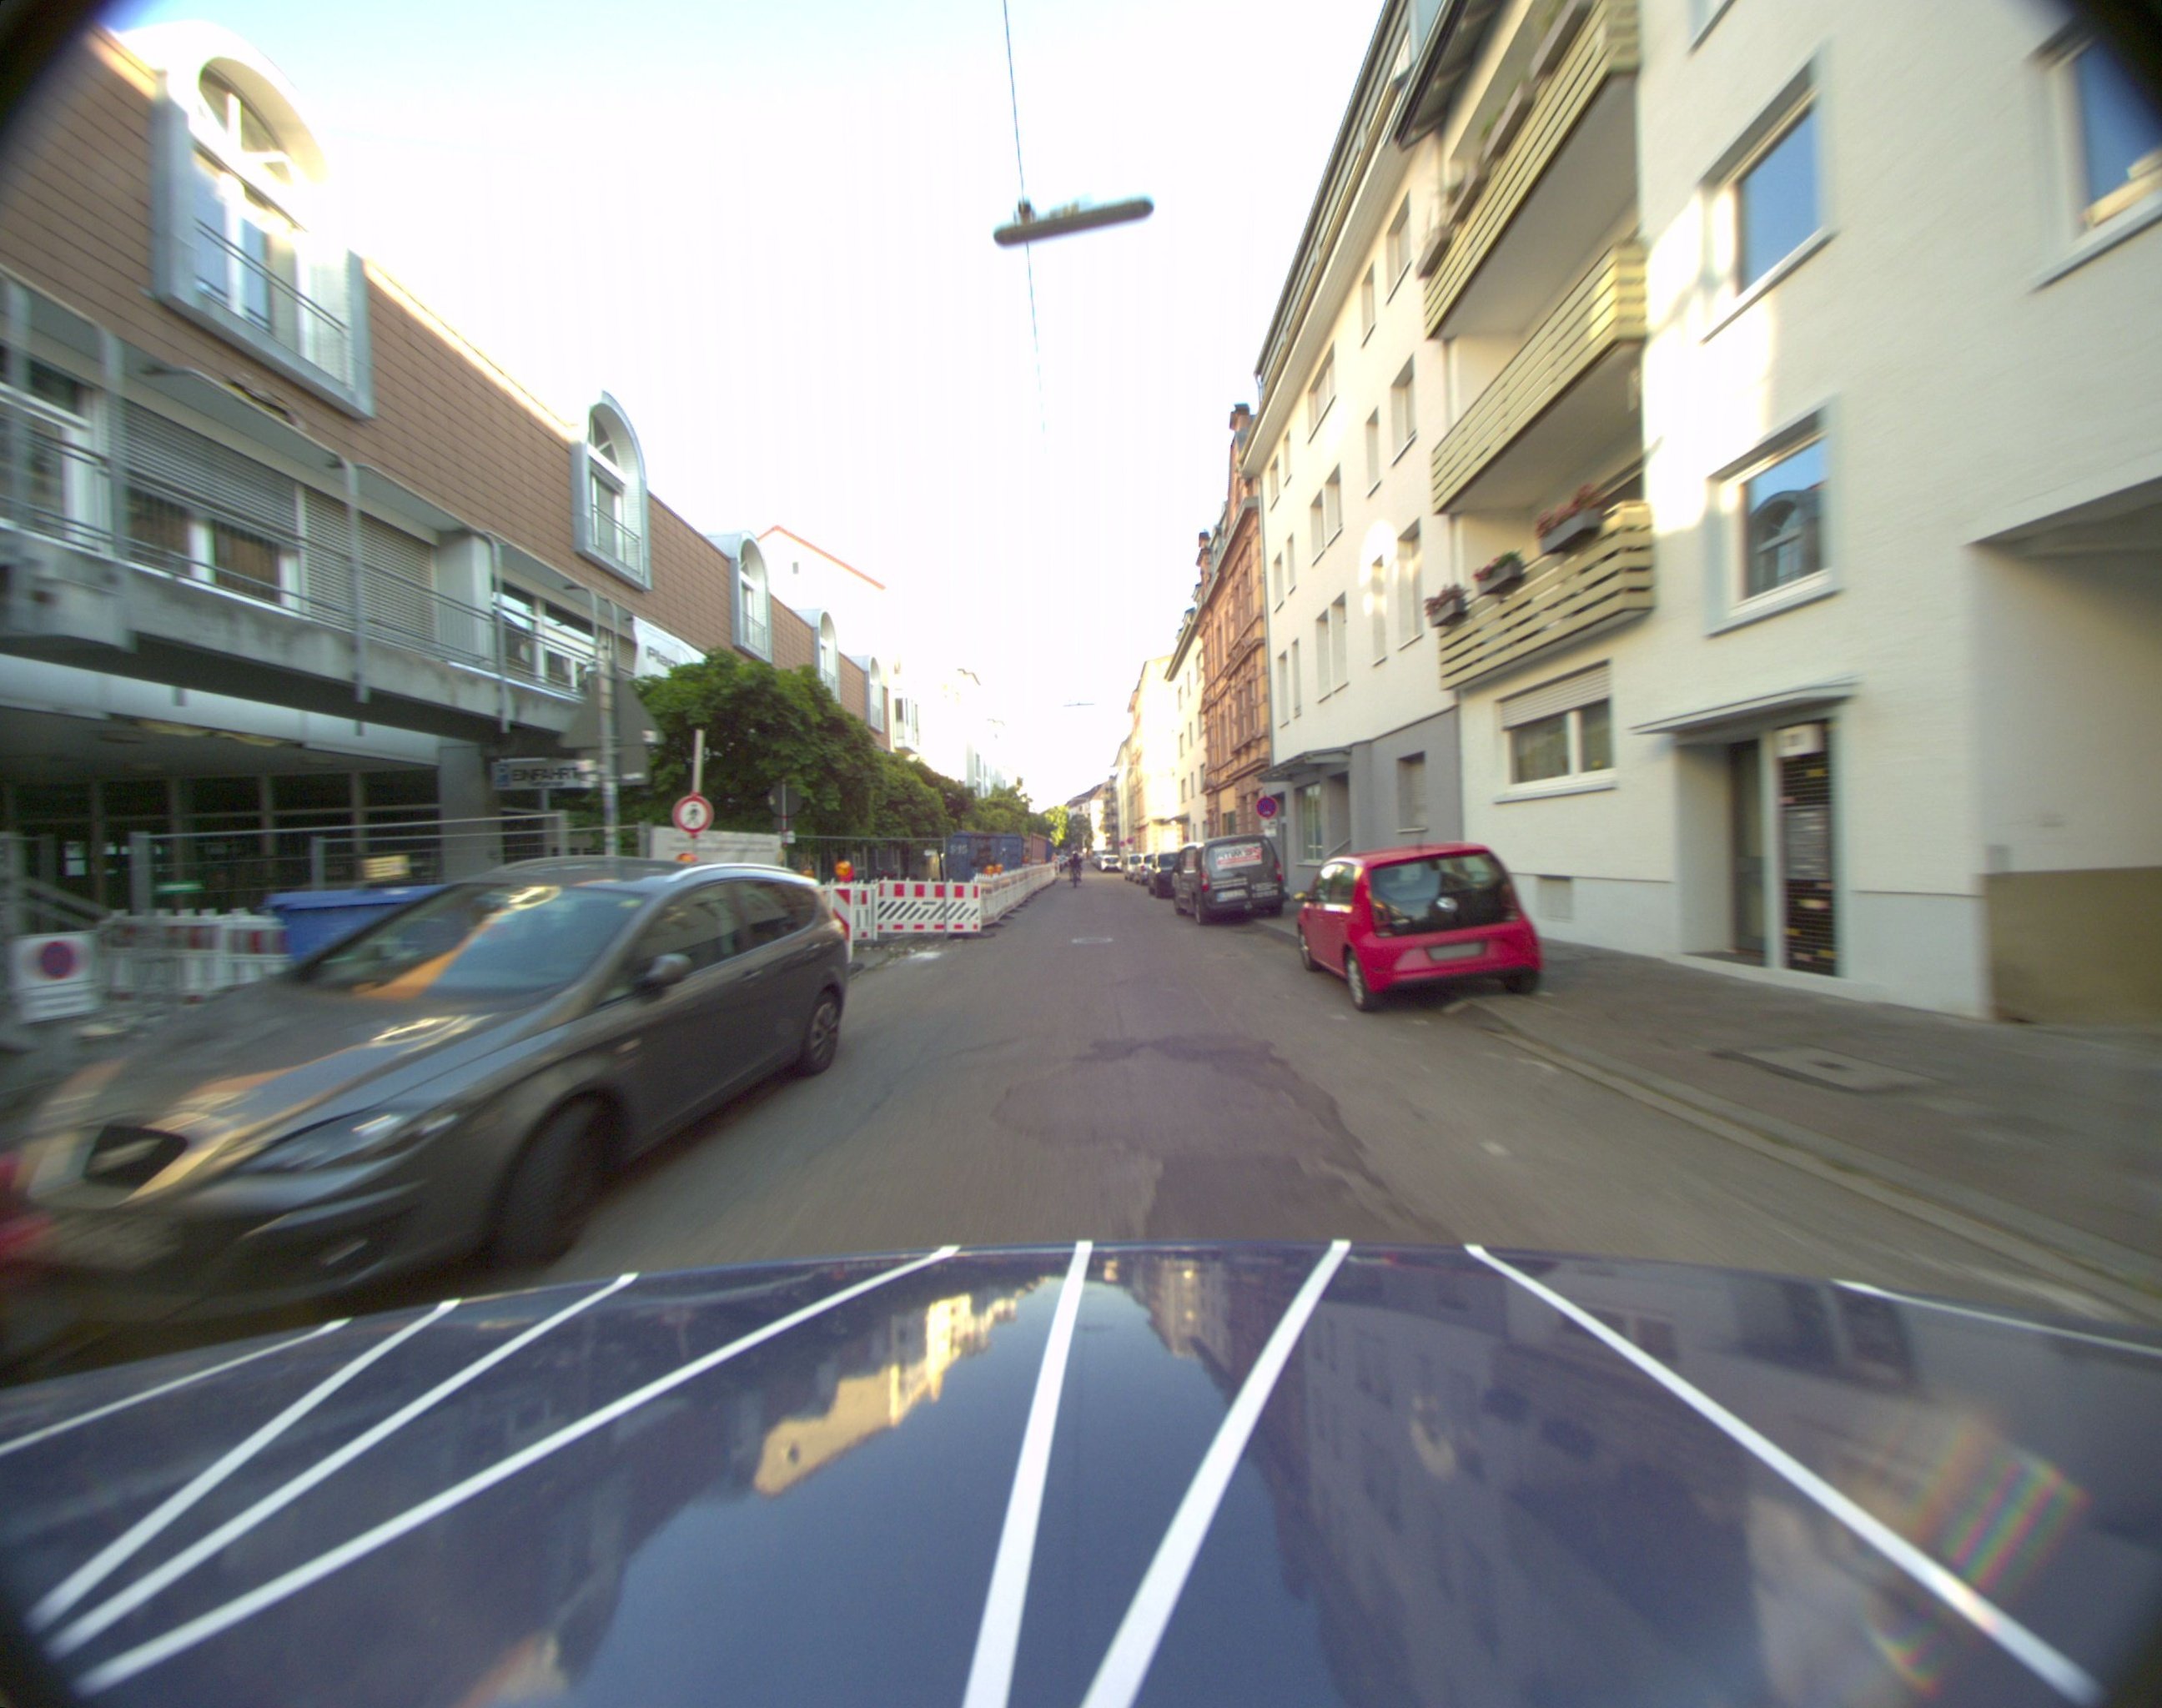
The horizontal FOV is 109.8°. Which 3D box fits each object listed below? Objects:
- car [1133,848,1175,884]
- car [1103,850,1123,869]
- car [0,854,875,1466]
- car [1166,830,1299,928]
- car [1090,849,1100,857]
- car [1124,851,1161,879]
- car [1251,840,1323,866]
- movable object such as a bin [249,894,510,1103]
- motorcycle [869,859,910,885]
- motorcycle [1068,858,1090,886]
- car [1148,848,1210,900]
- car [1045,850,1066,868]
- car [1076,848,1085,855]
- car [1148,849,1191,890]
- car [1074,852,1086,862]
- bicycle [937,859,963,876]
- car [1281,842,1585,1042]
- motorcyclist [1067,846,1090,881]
[{"bbox_3d":[3.489,0.547,36.889,1.559,1.500,3.597,-5,0,-1],"label":"car"},{"bbox_3d":[2.789,0.455,66.314,1.688,1.487,3.844,1,1,2],"label":"car"},{"bbox_3d":[-2.822,0.902,4.433,1.753,1.673,4.526,-3,0,2],"label":"car"},{"bbox_3d":[3.298,0.492,17.536,1.999,1.848,4.584,-3,0,-1],"label":"car"},{"bbox_3d":[3.112,-0.214,166.026,1.998,1.783,4.000,-3,0,0],"label":"car"},{"bbox_3d":[3.413,0.570,42.633,1.636,1.422,3.554,-3,0,-1],"label":"car"},{"bbox_3d":[13.792,-0.069,51.048,4.261,1.444,1.968,-3,1,0],"label":"car"},{"bbox_3d":[-5.491,1.067,6.064,1.256,1.368,0.800,-4,1,-25],"label":"movable object such as a bin"},{"bbox_3d":[-10.176,0.953,40.447,0.871,1.215,2.459,-2,1,18],"label":"motorcycle"},{"bbox_3d":[-0.082,0.848,35.626,0.807,1.242,1.698,-4,-1,-5],"label":"motorcycle"},{"bbox_3d":[3.312,0.620,26.299,1.744,1.590,4.015,-3,0,3],"label":"car"},{"bbox_3d":[-2.672,0.497,80.482,1.863,1.679,4.390,-3,0,2],"label":"car"},{"bbox_3d":[-0.131,-0.695,196.402,1.998,1.783,4.000,-3,0,0],"label":"car"},{"bbox_3d":[3.603,0.590,31.319,1.399,1.579,2.793,-2,0,0],"label":"car"},{"bbox_3d":[-0.119,0.510,137.456,1.998,1.783,4.000,-3,0,0],"label":"car"},{"bbox_3d":[-9.739,0.996,56.491,1.888,1.160,0.564,-1,1,-4],"label":"bicycle"},{"bbox_3d":[3.382,0.716,8.103,1.672,1.477,3.606,-7,0,5],"label":"car"},{"bbox_3d":[-0.114,0.452,35.650,0.874,1.558,0.999,-4,-1,-5],"label":"motorcyclist"}]
